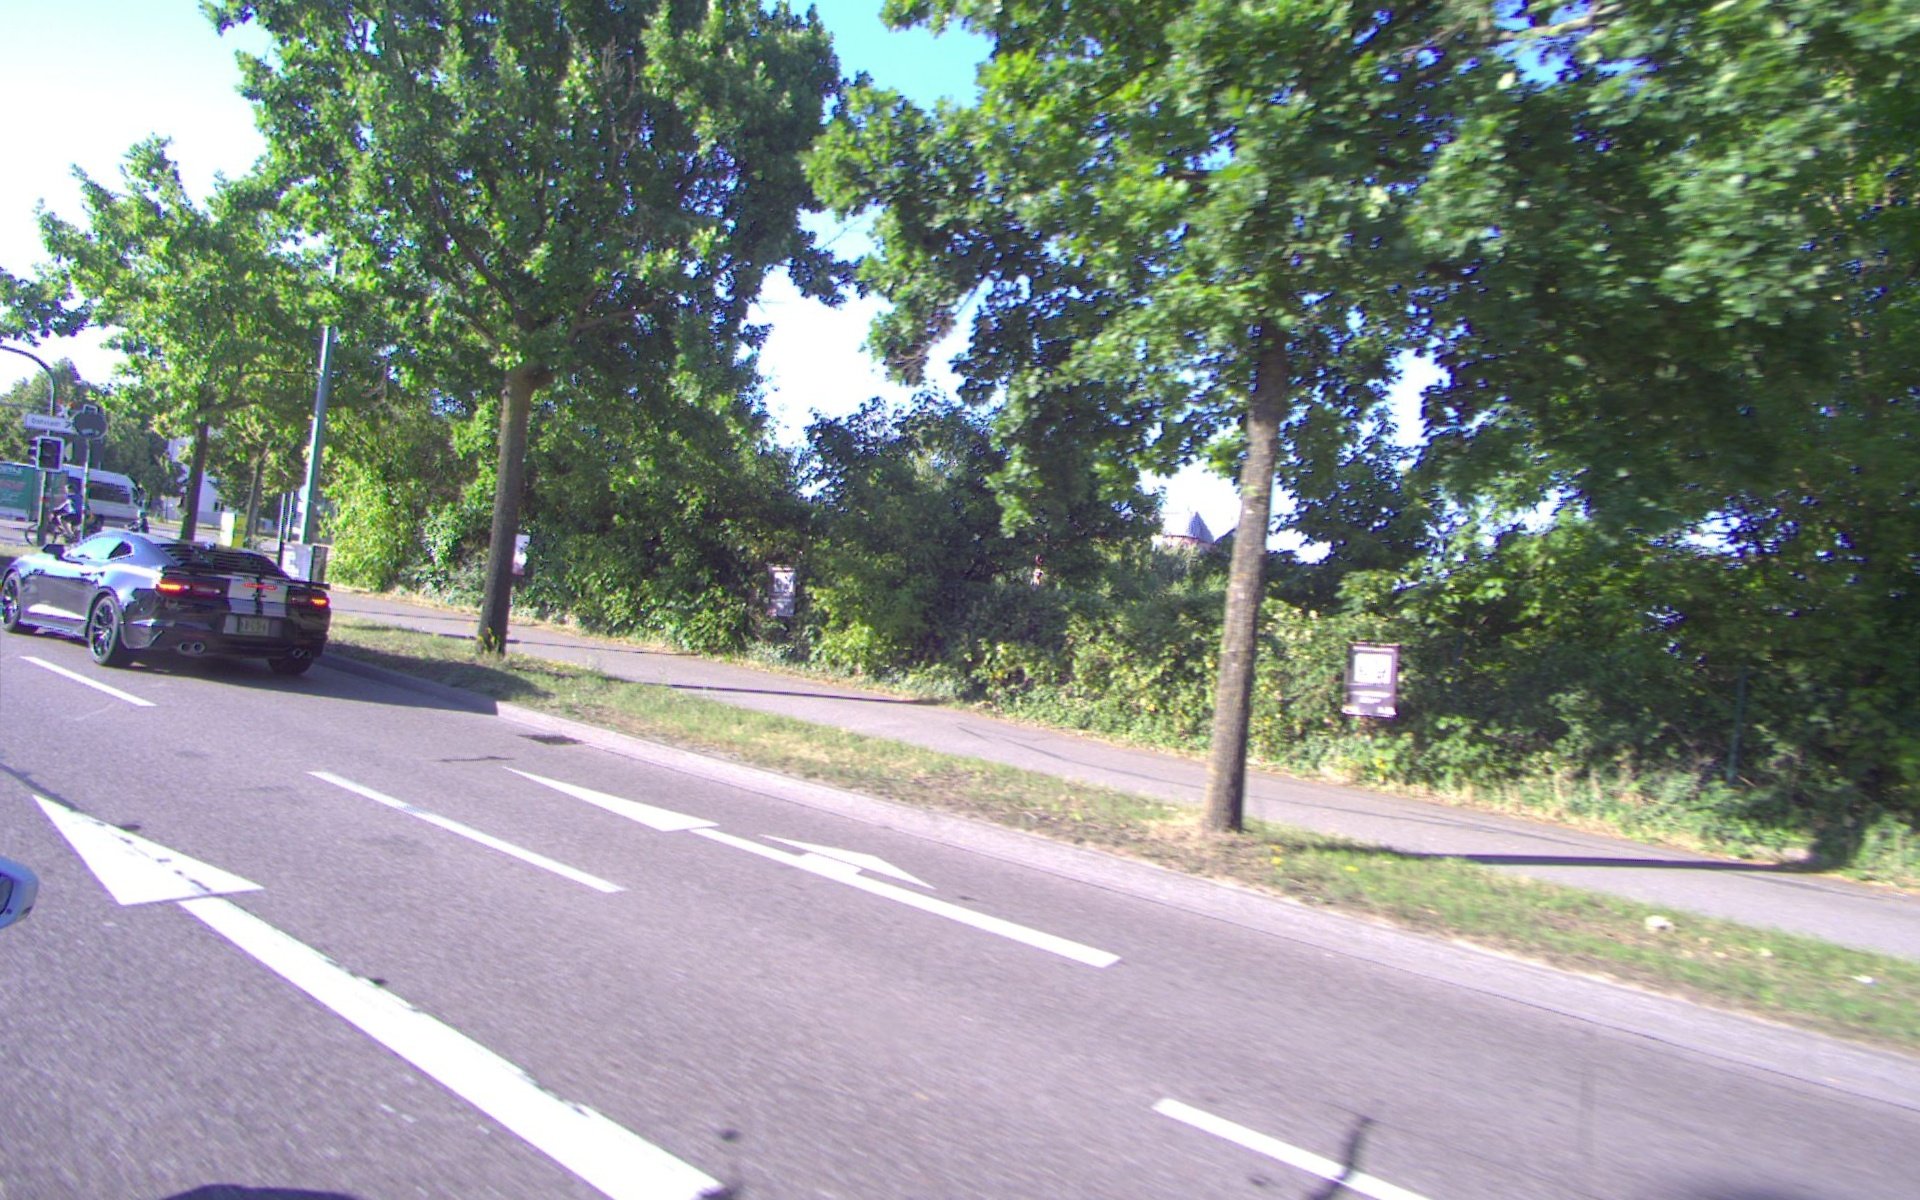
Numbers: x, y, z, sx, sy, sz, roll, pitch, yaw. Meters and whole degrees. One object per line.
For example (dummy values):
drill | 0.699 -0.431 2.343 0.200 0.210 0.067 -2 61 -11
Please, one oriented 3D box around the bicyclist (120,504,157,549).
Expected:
bicyclist | -26.089 -2.336 31.952 0.457 1.311 0.651 8 1 15

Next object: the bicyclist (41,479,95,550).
bicyclist | -26.102 -2.489 29.458 0.926 1.923 0.598 5 2 -21

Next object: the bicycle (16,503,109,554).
bicycle | -26.234 -2.083 29.434 1.883 1.260 0.606 6 1 -21

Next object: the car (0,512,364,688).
car | -8.943 -0.040 11.343 4.549 1.353 1.858 7 -2 32

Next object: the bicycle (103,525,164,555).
bicycle | -26.171 -1.886 31.868 0.431 0.796 1.464 7 0 15

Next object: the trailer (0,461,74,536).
trailer | -35.418 -3.835 37.766 2.072 2.428 3.480 8 -1 -25

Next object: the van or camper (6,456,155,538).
van or camper | -37.648 -4.304 43.351 2.260 2.659 6.556 8 -1 -19

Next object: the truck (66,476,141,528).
truck | -51.906 -5.974 60.918 6.166 2.589 2.576 7 0 43
